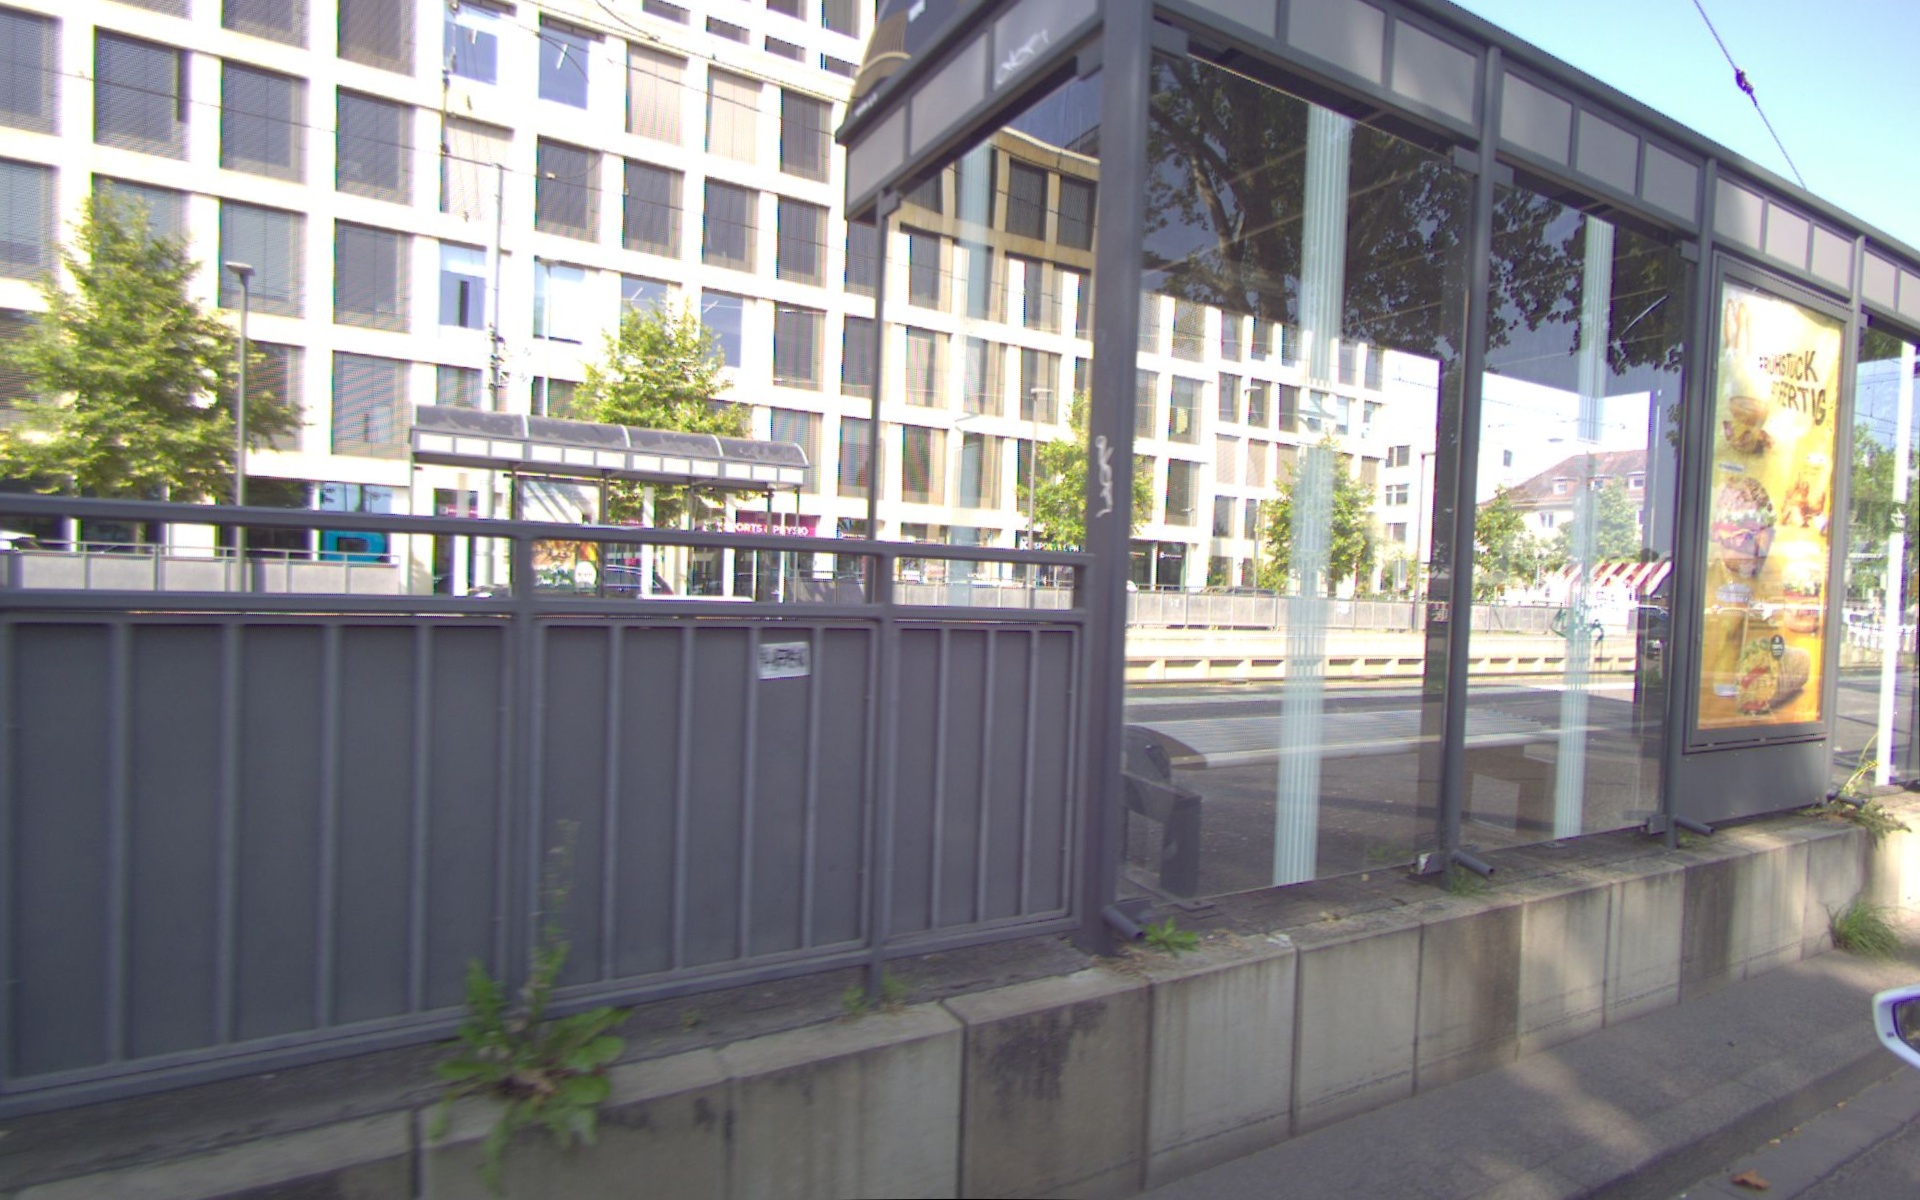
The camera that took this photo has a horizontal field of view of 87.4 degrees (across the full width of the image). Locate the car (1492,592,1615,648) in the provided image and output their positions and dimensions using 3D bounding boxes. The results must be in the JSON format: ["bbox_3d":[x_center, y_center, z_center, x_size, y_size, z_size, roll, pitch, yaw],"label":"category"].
[{"bbox_3d":[20.682,0.726,34.998,3.952,1.778,1.985,3,-3,-29],"label":"car"}]

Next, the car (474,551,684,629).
[{"bbox_3d":[-8.756,-0.185,23.176,4.262,1.624,1.754,2,0,-31],"label":"car"}]

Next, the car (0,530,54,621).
[{"bbox_3d":[-18.911,-0.490,17.683,4.086,1.624,1.754,2,0,-32],"label":"car"}]

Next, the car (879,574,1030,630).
[{"bbox_3d":[-0.131,0.070,28.439,3.963,1.465,1.701,2,0,-32],"label":"car"}]

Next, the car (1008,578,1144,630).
[{"bbox_3d":[3.593,0.143,31.006,3.963,1.465,1.701,2,0,-32],"label":"car"}]
